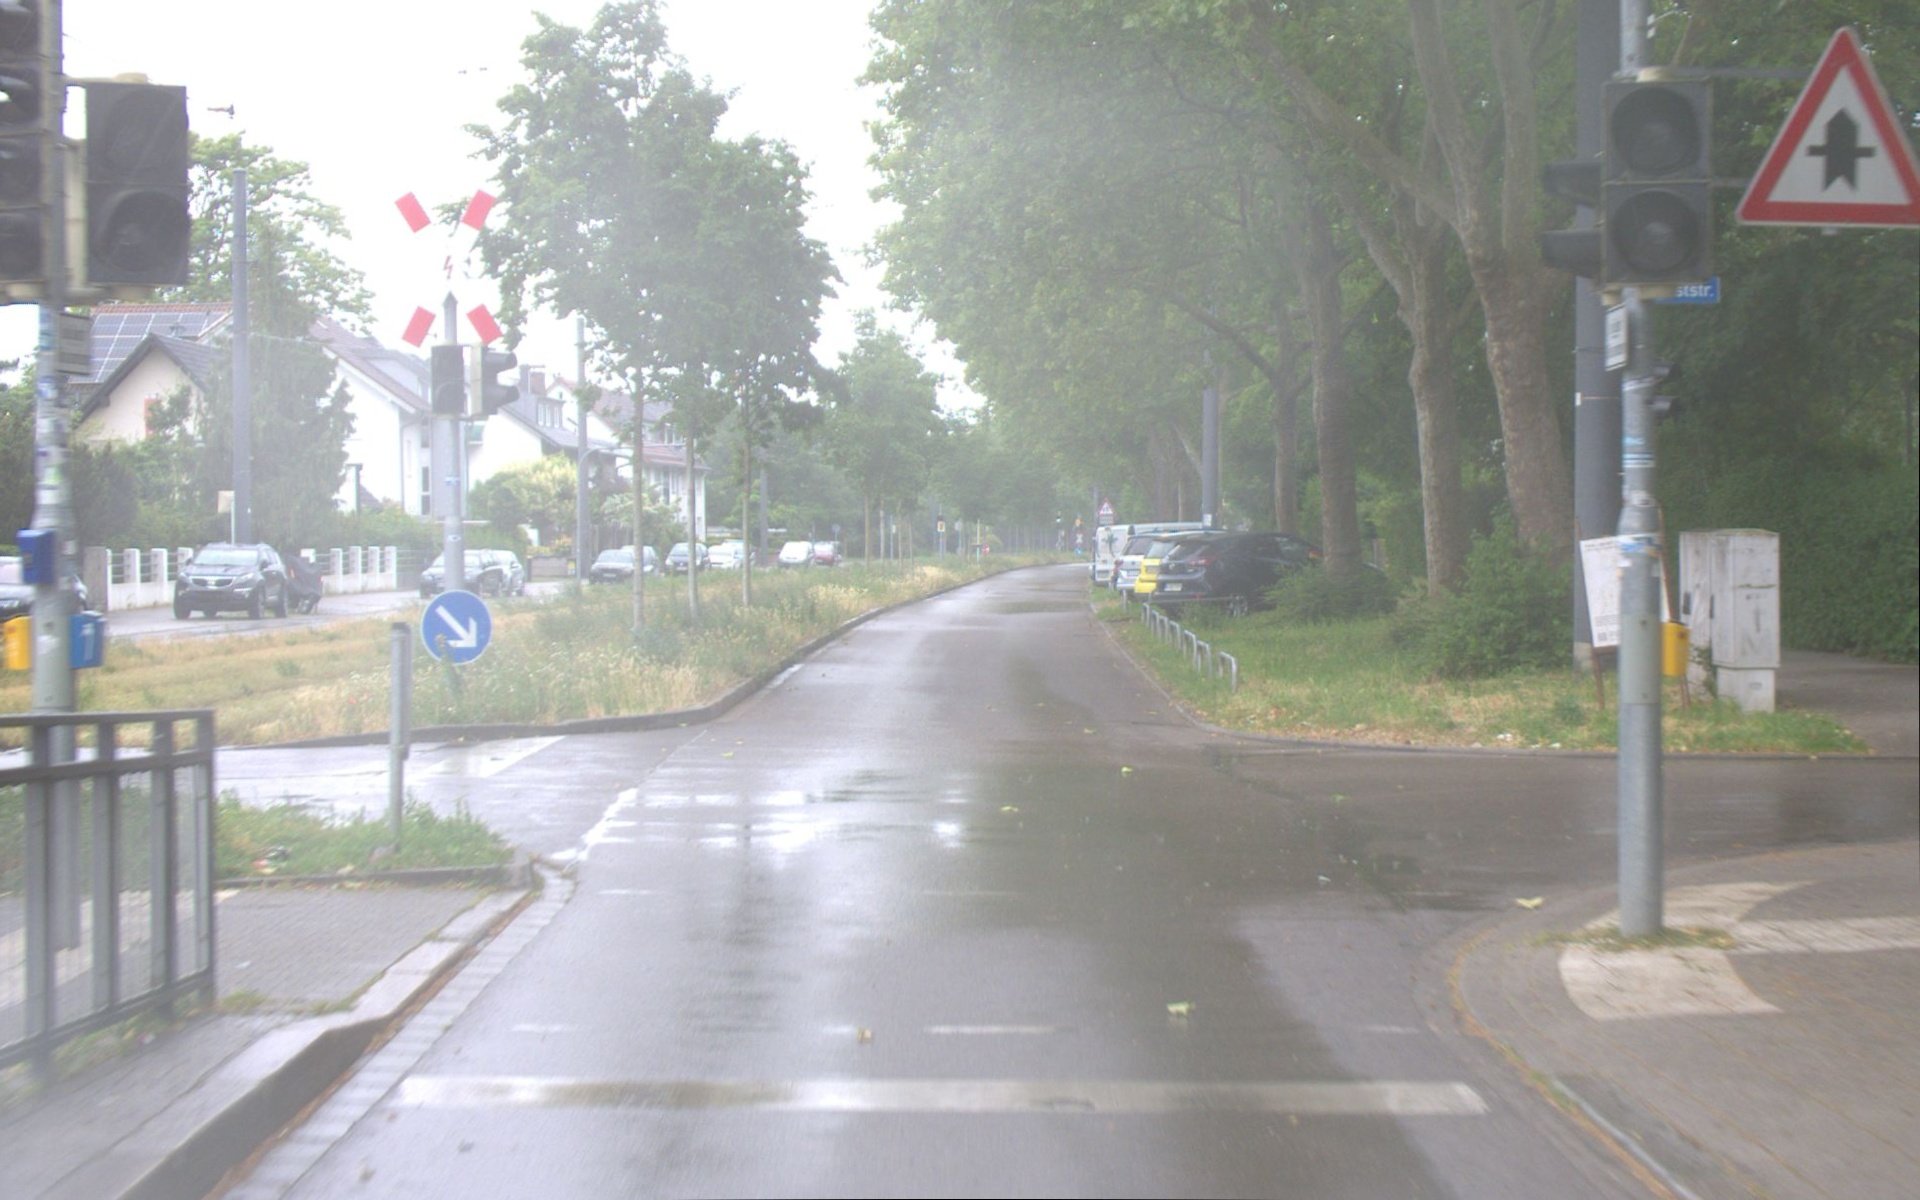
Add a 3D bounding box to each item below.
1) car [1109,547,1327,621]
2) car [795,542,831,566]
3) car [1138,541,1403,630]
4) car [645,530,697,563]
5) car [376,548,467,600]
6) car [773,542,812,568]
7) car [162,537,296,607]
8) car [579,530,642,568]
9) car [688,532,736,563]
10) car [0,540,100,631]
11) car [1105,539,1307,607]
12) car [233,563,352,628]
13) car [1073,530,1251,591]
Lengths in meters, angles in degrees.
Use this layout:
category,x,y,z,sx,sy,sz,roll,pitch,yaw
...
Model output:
category,x,y,z,sx,sy,sz,roll,pitch,yaw
car,5.246,-0.328,70.053,3.986,1.448,2.001,0,0,-15
car,-9.175,-2.860,214.617,1.928,1.481,4.000,1,1,2
car,5.210,-0.245,57.840,3.986,1.448,2.001,0,0,-15
car,-13.311,-2.448,158.523,1.928,1.481,4.000,1,1,2
car,-15.930,-0.765,101.888,1.928,1.481,4.000,1,1,2
car,-9.751,-2.639,200.686,1.928,1.481,4.000,1,1,2
car,-15.917,-0.610,75.013,1.928,1.481,4.000,1,1,2
car,-13.865,-2.018,136.420,1.928,1.481,4.000,1,1,2
car,-12.294,-2.599,170.648,1.928,1.481,4.000,1,1,2
car,-16.098,-0.269,58.181,1.928,1.481,4.000,1,1,2
car,5.418,-0.590,75.907,3.986,1.448,2.001,0,0,-15
car,-15.875,-0.125,81.939,1.928,1.481,4.000,1,1,2
car,5.045,-0.986,86.010,3.986,1.448,2.001,0,0,-15
